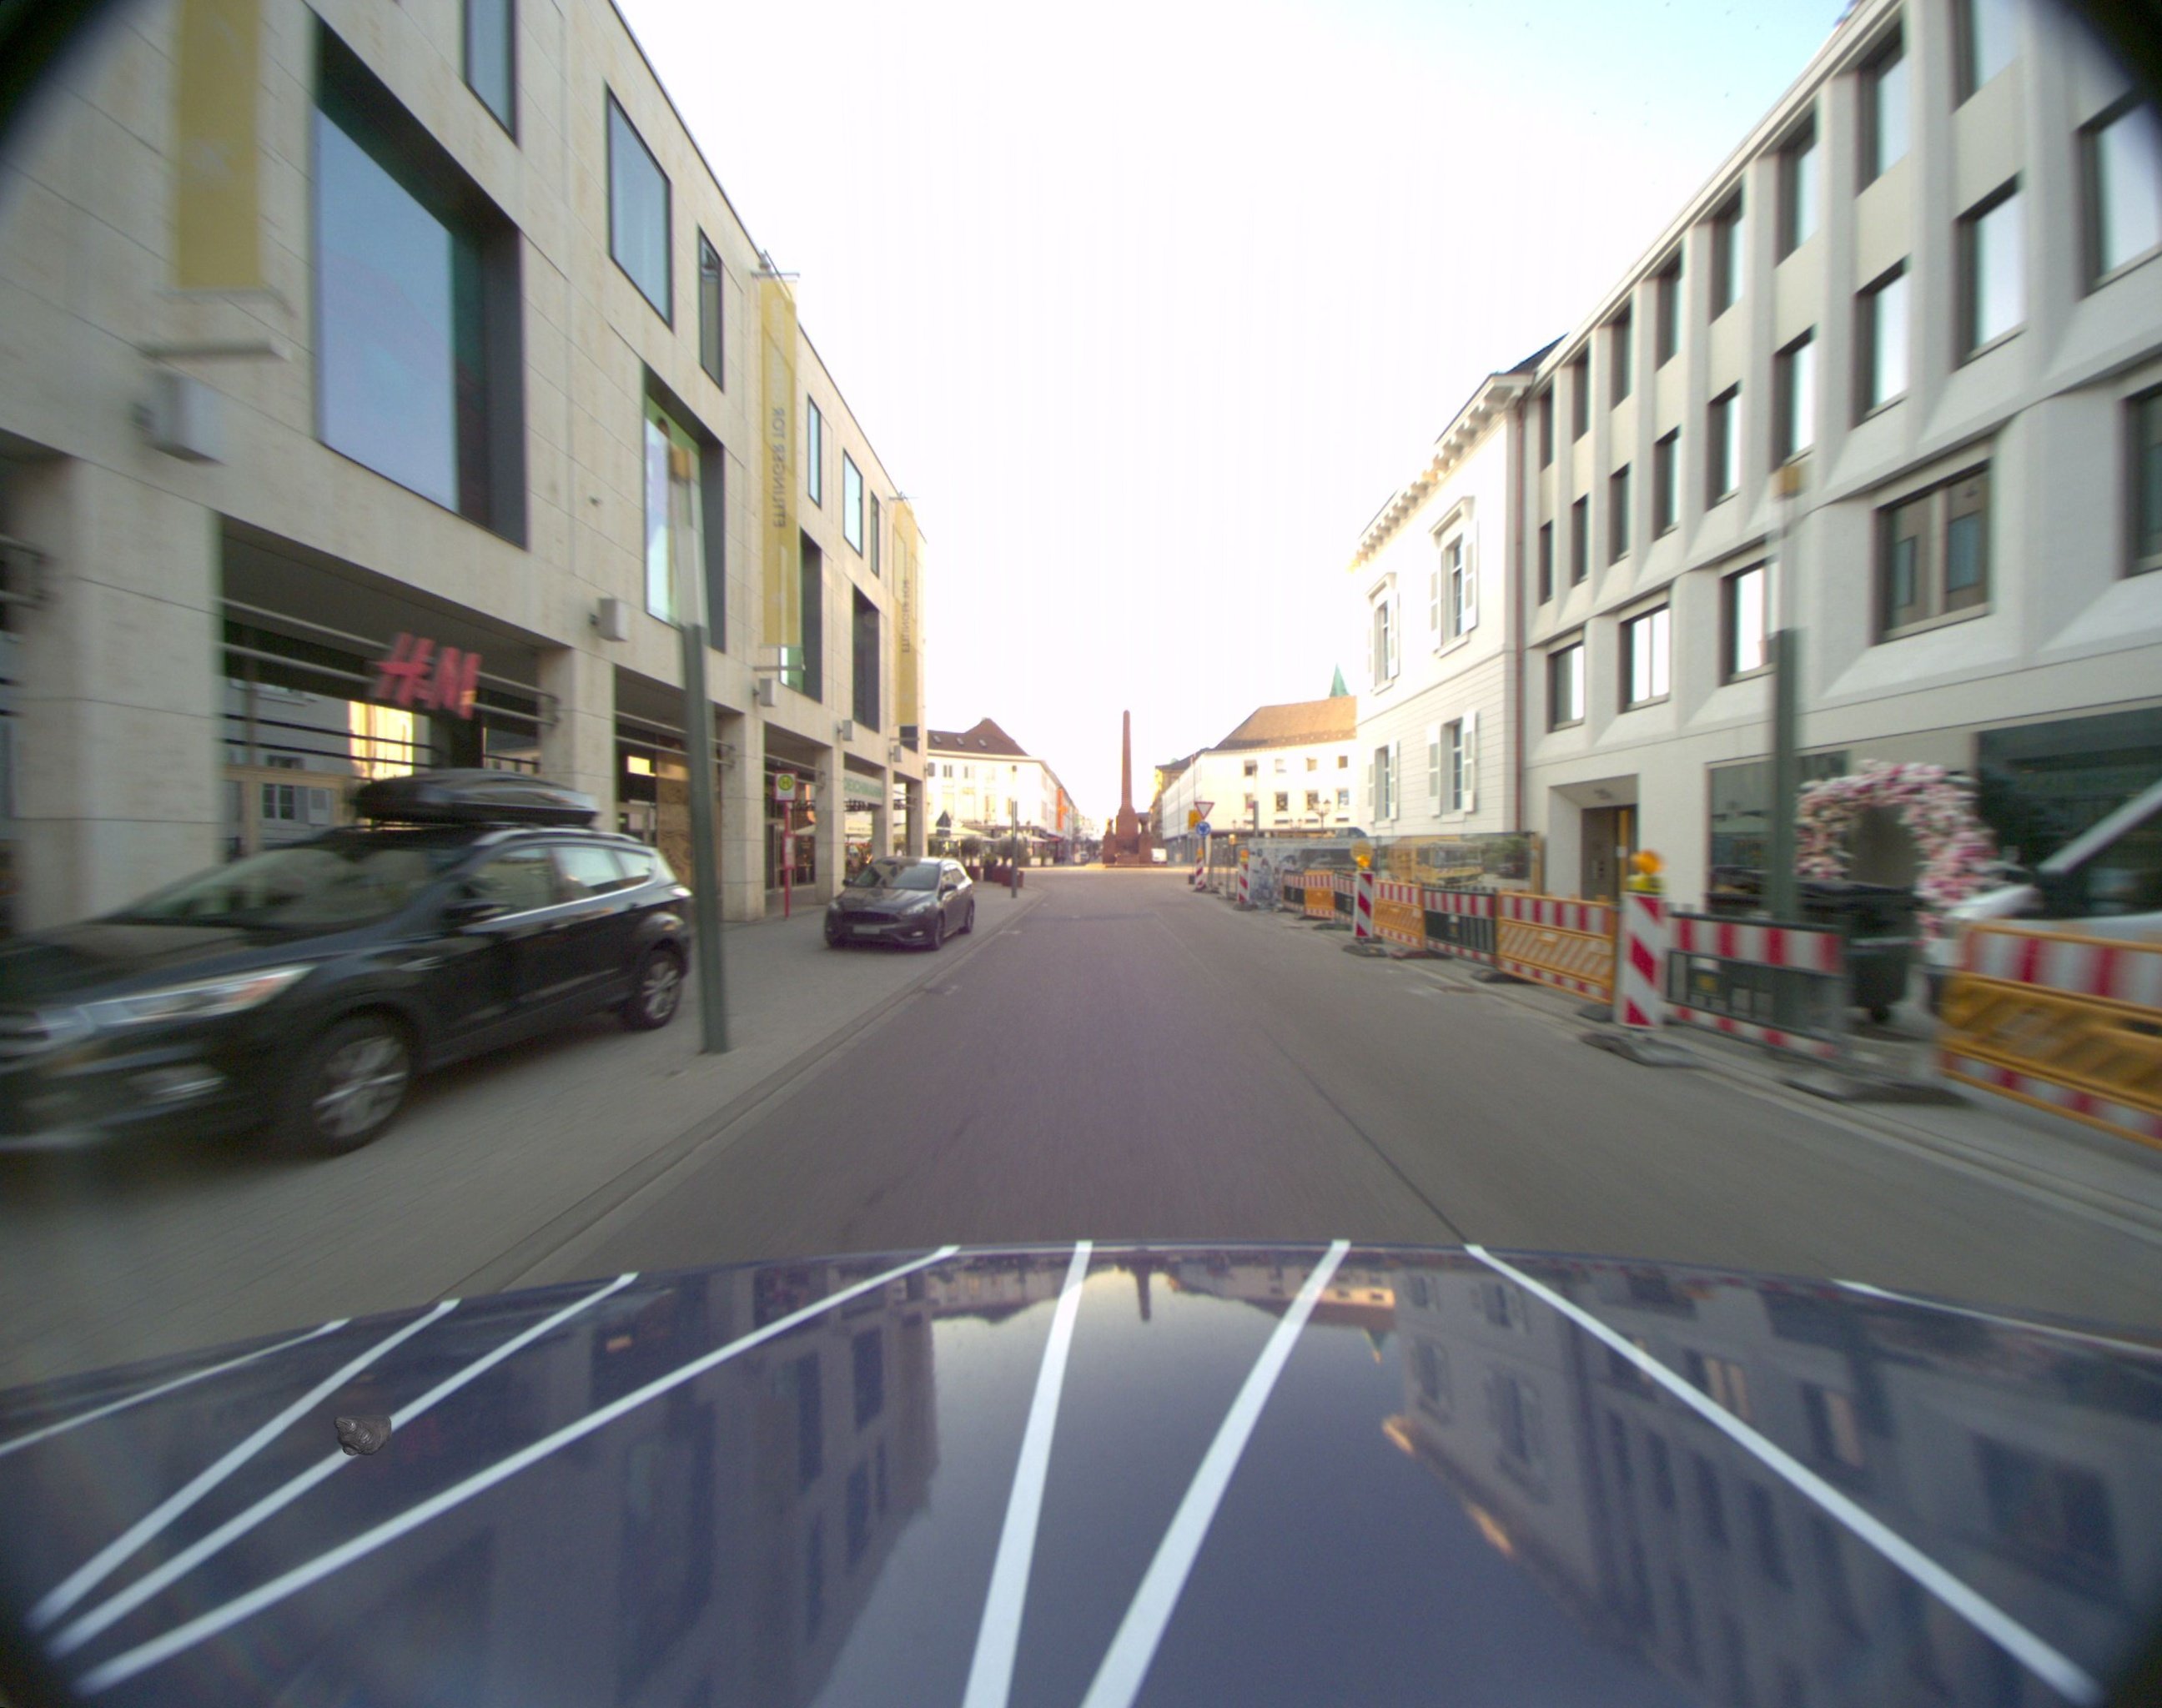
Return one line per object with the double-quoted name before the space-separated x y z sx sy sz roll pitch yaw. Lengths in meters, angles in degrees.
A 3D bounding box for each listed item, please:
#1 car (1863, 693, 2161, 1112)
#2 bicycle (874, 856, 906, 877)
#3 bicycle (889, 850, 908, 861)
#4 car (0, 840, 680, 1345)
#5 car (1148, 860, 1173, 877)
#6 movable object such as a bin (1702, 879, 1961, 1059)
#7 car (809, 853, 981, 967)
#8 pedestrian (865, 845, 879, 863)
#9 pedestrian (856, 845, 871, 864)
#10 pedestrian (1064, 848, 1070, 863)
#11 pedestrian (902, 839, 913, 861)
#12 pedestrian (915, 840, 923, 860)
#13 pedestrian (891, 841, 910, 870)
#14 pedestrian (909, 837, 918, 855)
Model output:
"car" 7.385 0.313 3.140 2.179 2.456 5.998 0 1 2
"bicycle" -10.479 0.678 41.830 0.606 1.121 1.910 1 0 26
"bicycle" -16.445 0.129 68.512 0.473 0.929 1.680 1 2 38
"car" -4.490 0.794 4.658 1.772 1.628 4.056 3 2 2
"car" 9.066 1.630 86.579 2.021 1.815 4.457 0 1 -5
"movable object such as a bin" 7.094 1.012 7.287 1.047 1.458 1.392 -1 2 -11
"car" -3.021 0.829 13.291 1.799 1.482 4.192 3 2 2
"pedestrian" -16.456 -0.026 59.878 0.721 1.439 0.694 1 2 26
"pedestrian" -16.837 0.016 58.858 0.721 1.439 0.867 1 2 25
"pedestrian" -1.614 0.201 85.685 0.604 1.691 0.713 0 2 -4
"pedestrian" -15.836 -0.368 69.299 0.644 1.917 0.629 1 2 25
"pedestrian" -15.077 -0.391 70.838 0.508 1.808 0.719 0 2 3
"pedestrian" -10.244 0.078 43.186 0.748 1.580 0.715 0 2 19
"pedestrian" -15.811 -0.779 71.780 0.619 1.667 0.733 0 2 3
